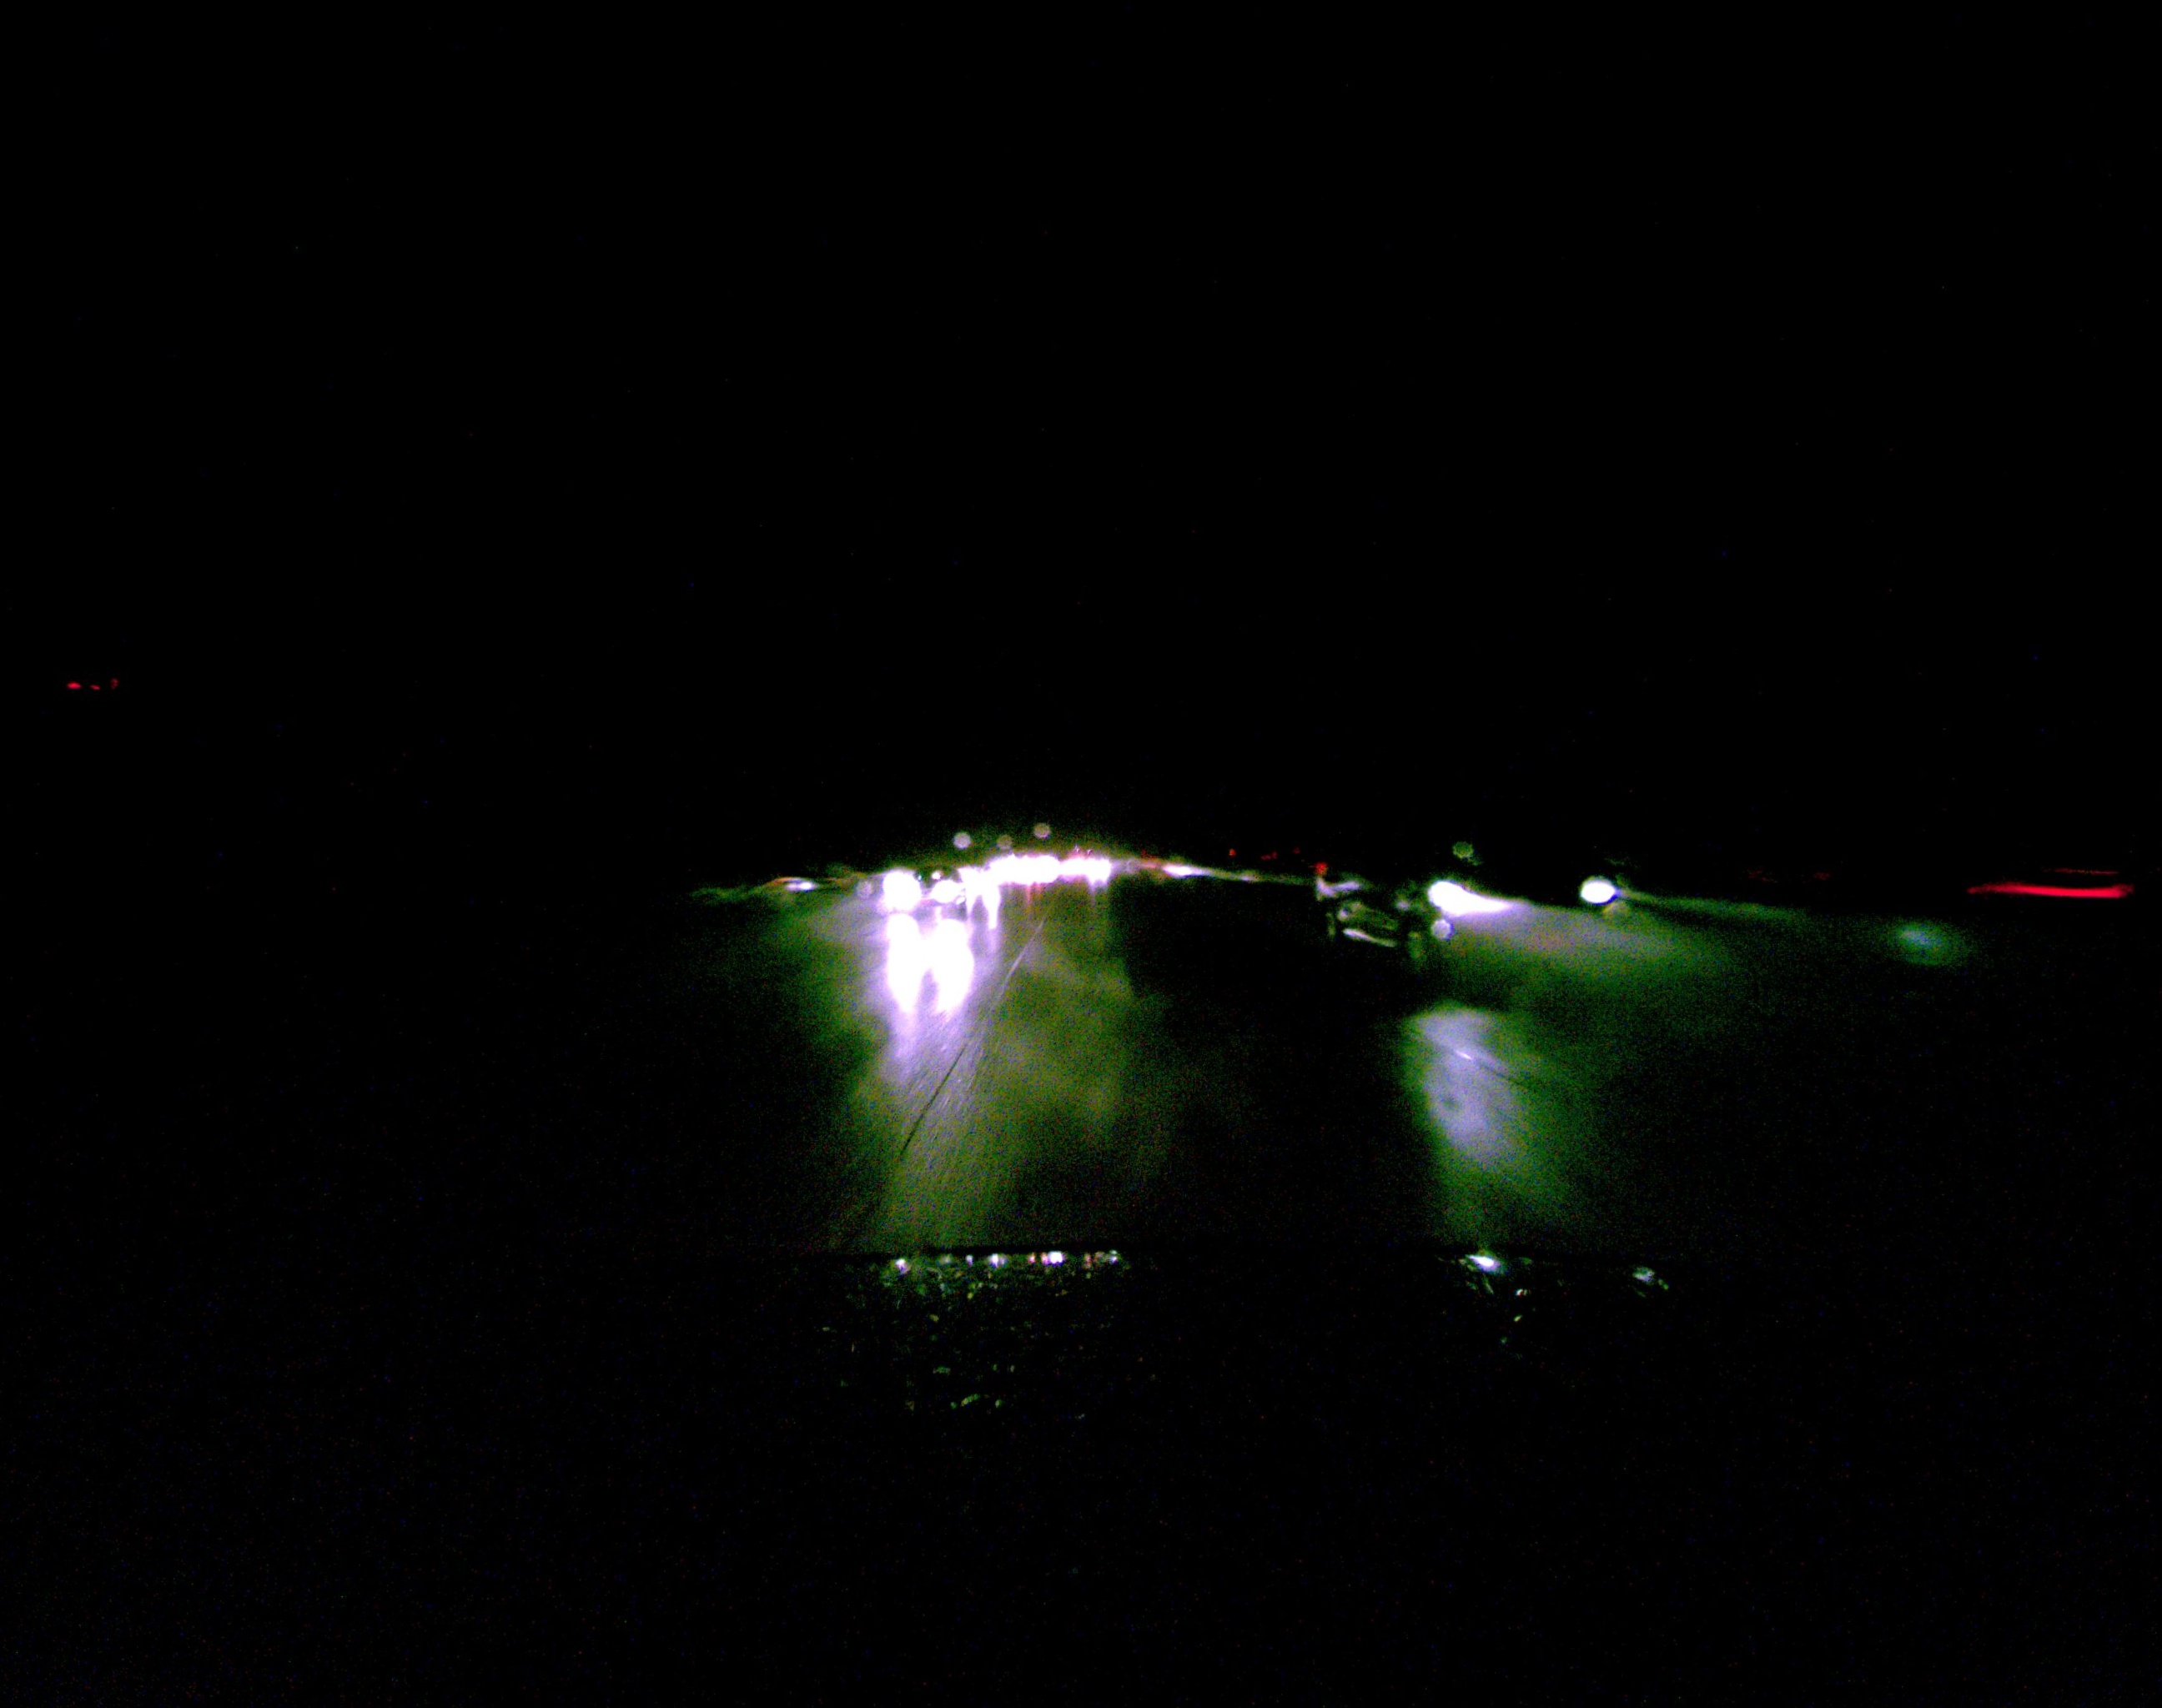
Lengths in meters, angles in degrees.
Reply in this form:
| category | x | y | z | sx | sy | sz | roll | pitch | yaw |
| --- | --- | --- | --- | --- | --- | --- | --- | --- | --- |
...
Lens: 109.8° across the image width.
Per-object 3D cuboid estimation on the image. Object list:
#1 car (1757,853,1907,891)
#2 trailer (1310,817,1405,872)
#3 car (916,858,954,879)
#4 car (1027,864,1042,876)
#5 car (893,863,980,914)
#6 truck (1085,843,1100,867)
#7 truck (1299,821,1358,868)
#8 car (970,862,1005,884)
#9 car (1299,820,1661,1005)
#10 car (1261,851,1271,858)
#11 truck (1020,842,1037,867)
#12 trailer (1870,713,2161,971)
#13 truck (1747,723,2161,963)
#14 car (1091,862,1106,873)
| category | x | y | z | sx | sy | sz | roll | pitch | yaw |
| --- | --- | --- | --- | --- | --- | --- | --- | --- | --- |
| car | 31.631 | 0.688 | 32.250 | 1.616 | 1.415 | 4.796 | 1 | 1 | 1 |
| trailer | 20.990 | -0.709 | 58.720 | 2.703 | 3.727 | 12.018 | 1 | 1 | -1 |
| car | -11.110 | 1.072 | 58.073 | 1.723 | 1.488 | 4.046 | -2 | -1 | 4 |
| car | -5.538 | 1.934 | 90.333 | 1.712 | 1.286 | 3.990 | 1 | -2 | -6 |
| car | -4.980 | 1.147 | 26.904 | 2.063 | 1.510 | 5.015 | -2 | 0 | 0 |
| truck | 2.012 | 0.161 | 138.814 | 2.503 | 4.223 | 5.981 | 1 | 1 | -1 |
| truck | 20.915 | -0.773 | 64.591 | 2.703 | 3.738 | 6.452 | 1 | 1 | -1 |
| car | -6.581 | 1.311 | 54.042 | 1.999 | 1.440 | 4.335 | -2 | 0 | -1 |
| car | 4.902 | 0.582 | 10.585 | 2.142 | 1.873 | 5.554 | -1 | 1 | 0 |
| car | 51.325 | 0.085 | 210.842 | 1.998 | 1.761 | 4.572 | -2 | -1 | 5 |
| truck | -9.217 | 0.033 | 131.964 | 2.767 | 4.198 | 6.191 | 1 | 1 | -5 |
| trailer | 21.608 | -0.179 | 12.071 | 2.930 | 4.821 | 14.578 | 1 | 1 | 1 |
| truck | 21.687 | -0.242 | 19.197 | 2.930 | 4.821 | 7.576 | 1 | 1 | 0 |
| car | 2.183 | 1.660 | 95.048 | 1.712 | 1.286 | 3.992 | 1 | -2 | -2 |
